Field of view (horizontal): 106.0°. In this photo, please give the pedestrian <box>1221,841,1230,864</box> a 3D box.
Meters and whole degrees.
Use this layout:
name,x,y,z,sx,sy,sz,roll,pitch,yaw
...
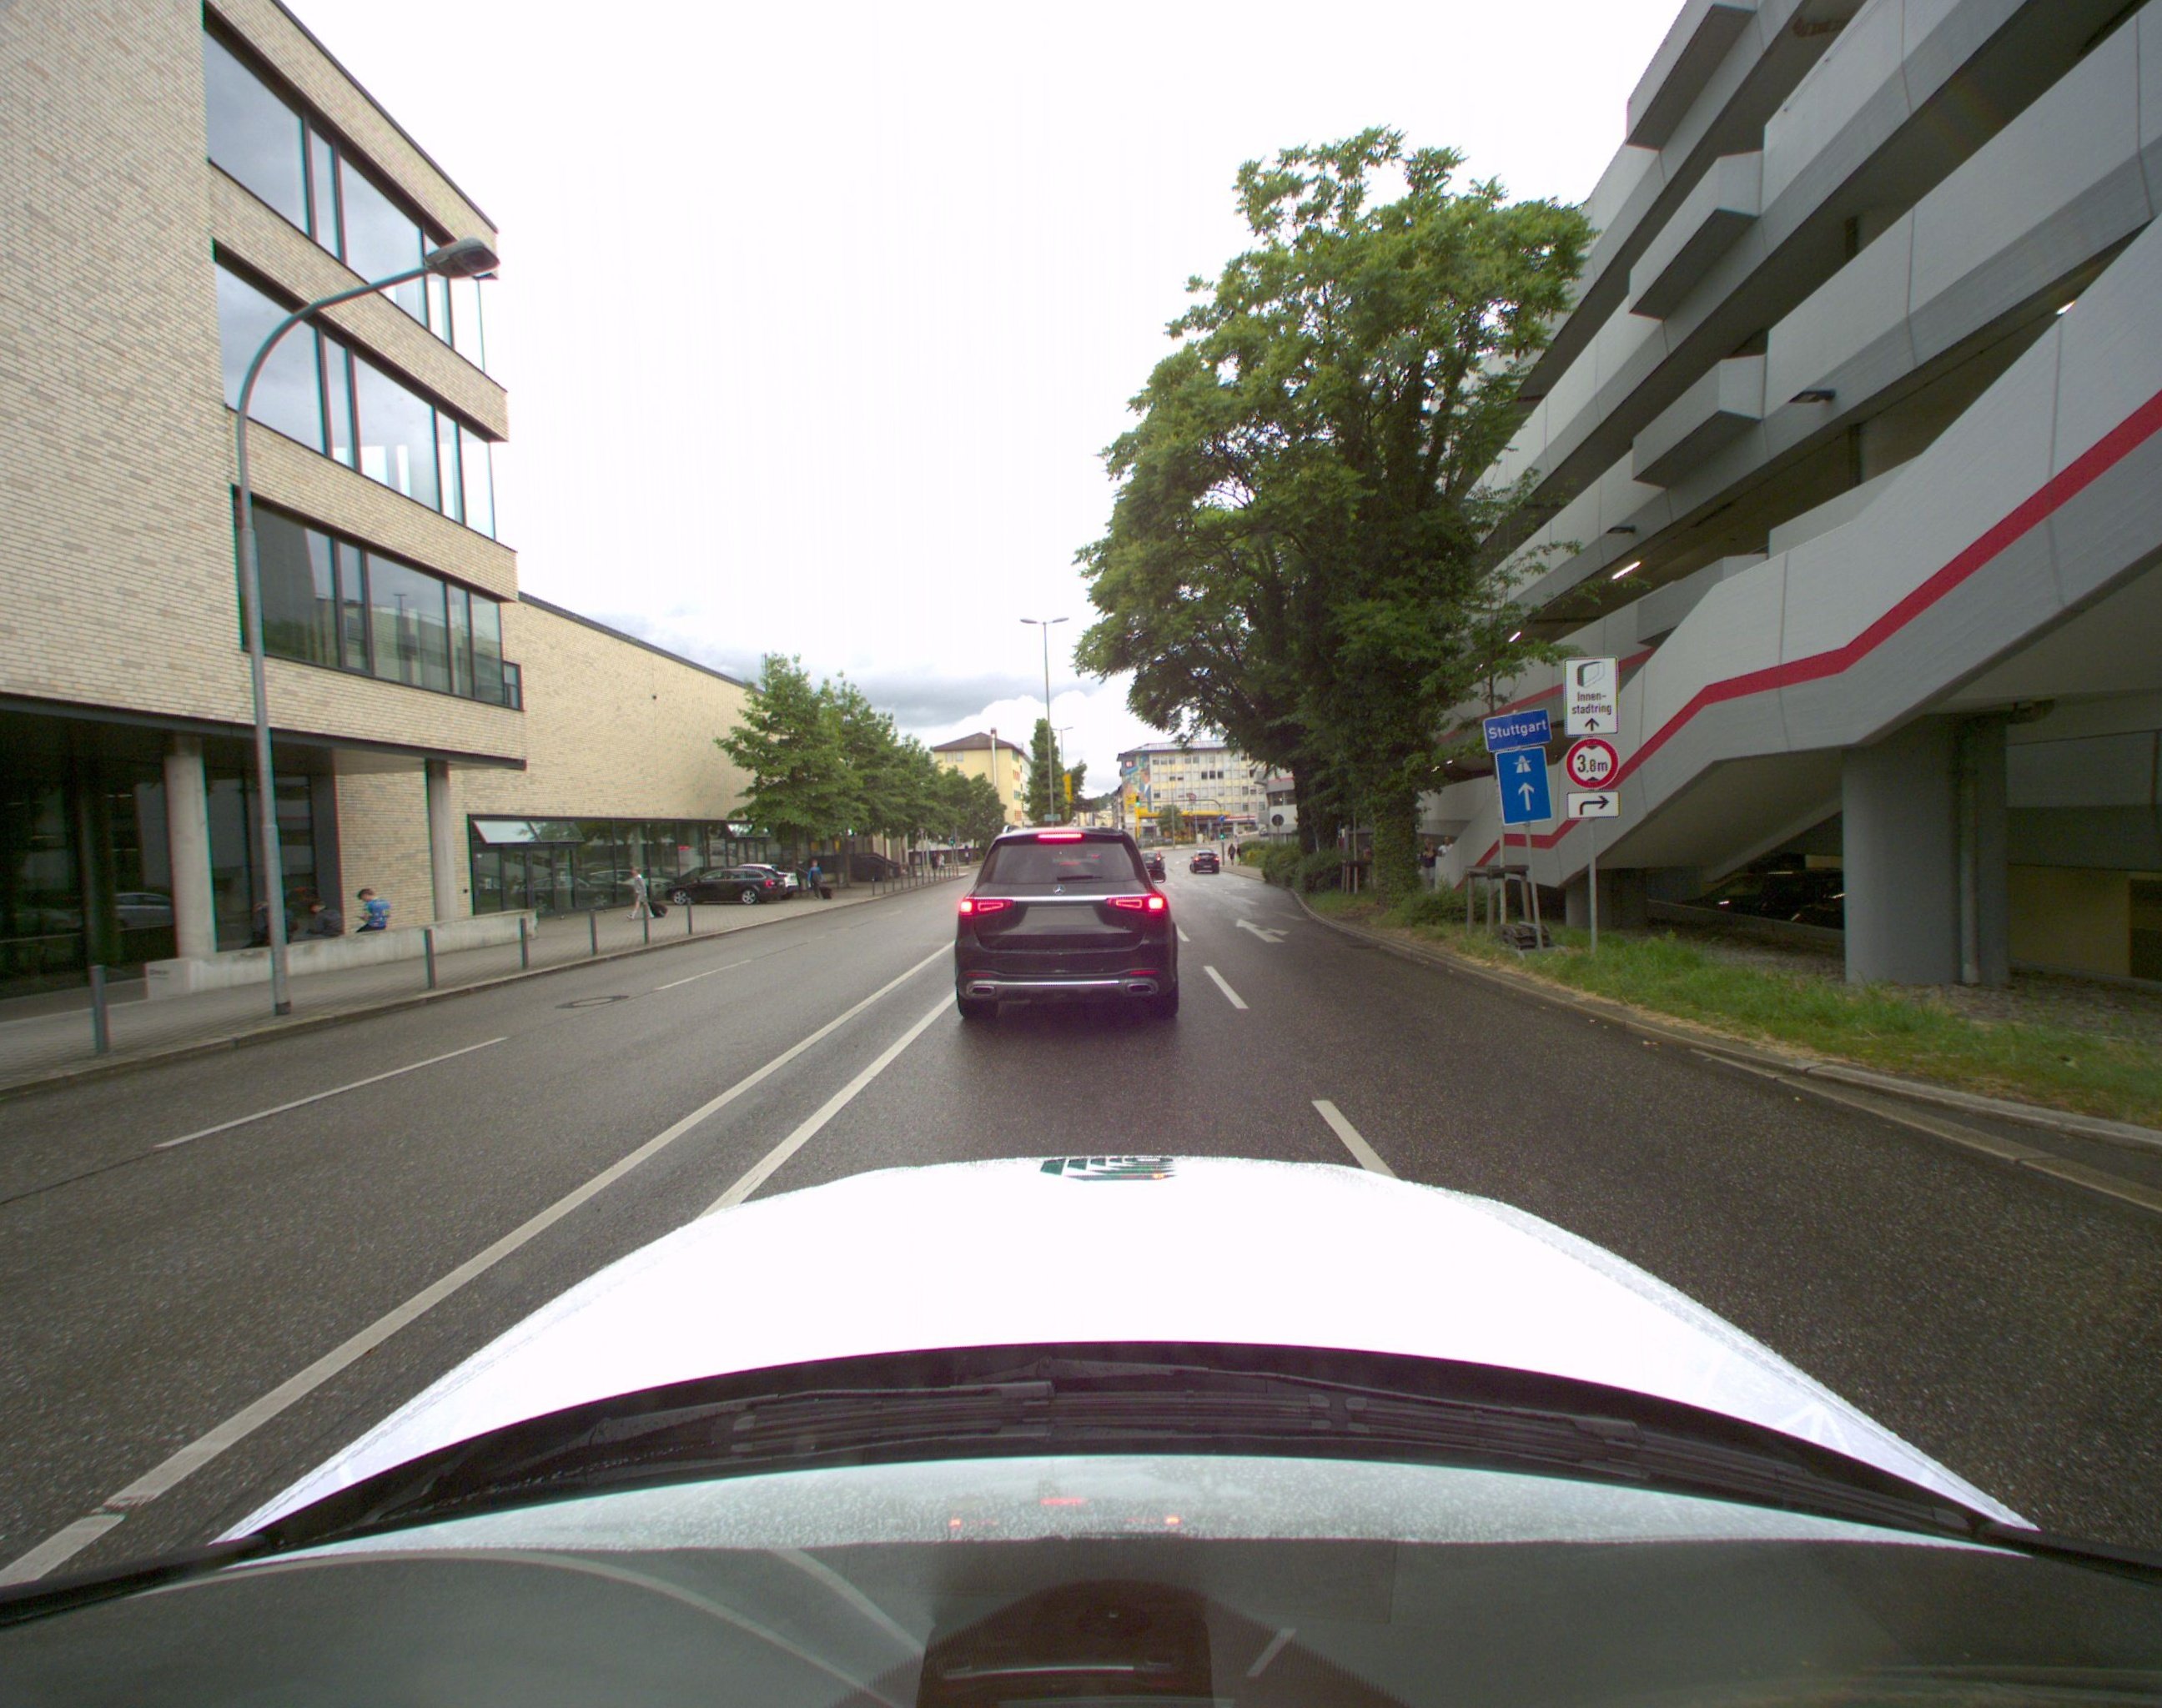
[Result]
name,x,y,z,sx,sy,sz,roll,pitch,yaw
pedestrian,11.943,-0.138,67.291,0.617,1.935,0.611,0,-1,5

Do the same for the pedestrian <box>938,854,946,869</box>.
name,x,y,z,sx,sy,sz,roll,pitch,yaw
pedestrian,-13.792,0.719,80.835,0.709,1.462,0.598,0,-1,0

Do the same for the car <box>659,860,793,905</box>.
name,x,y,z,sx,sy,sz,roll,pitch,yaw
car,-14.104,1.111,32.593,4.461,1.587,1.997,-1,0,-5

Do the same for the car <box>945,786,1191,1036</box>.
name,x,y,z,sx,sy,sz,roll,pitch,yaw
car,-0.084,0.476,8.603,1.987,2.014,4.000,0,-1,0

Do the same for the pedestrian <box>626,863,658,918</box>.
name,x,y,z,sx,sy,sz,roll,pitch,yaw
pedestrian,-13.615,1.134,25.257,0.673,1.697,0.479,0,-2,1

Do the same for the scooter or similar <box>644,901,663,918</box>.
name,x,y,z,sx,sy,sz,roll,pitch,yaw
scooter or similar,-13.547,1.756,25.798,0.279,0.501,0.616,0,-1,0

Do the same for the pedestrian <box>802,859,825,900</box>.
name,x,y,z,sx,sy,sz,roll,pitch,yaw
pedestrian,-11.490,1.081,34.998,0.686,1.725,0.754,0,1,0

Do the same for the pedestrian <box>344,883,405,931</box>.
name,x,y,z,sx,sy,sz,roll,pitch,yaw
pedestrian,-13.472,1.005,15.543,0.680,0.886,0.523,0,-1,-5

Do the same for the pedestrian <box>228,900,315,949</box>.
name,x,y,z,sx,sy,sz,roll,pitch,yaw
pedestrian,-13.494,1.183,13.602,0.595,0.786,0.760,0,-7,1

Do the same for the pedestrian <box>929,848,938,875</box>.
name,x,y,z,sx,sy,sz,roll,pitch,yaw
pedestrian,-11.116,0.539,61.391,0.586,2.014,0.749,0,-1,0

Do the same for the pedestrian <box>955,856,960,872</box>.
name,x,y,z,sx,sy,sz,roll,pitch,yaw
pedestrian,-12.647,0.990,83.469,0.398,1.644,0.567,0,-1,2

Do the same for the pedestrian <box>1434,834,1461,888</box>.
name,x,y,z,sx,sy,sz,roll,pitch,yaw
pedestrian,10.477,0.201,23.292,0.579,1.501,0.505,0,-1,7

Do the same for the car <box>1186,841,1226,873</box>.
name,x,y,z,sx,sy,sz,roll,pitch,yaw
car,8.325,0.156,54.508,1.987,2.013,3.999,-1,0,0

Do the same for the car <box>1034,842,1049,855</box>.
name,x,y,z,sx,sy,sz,roll,pitch,yaw
car,-5.786,-0.799,120.582,1.987,1.875,5.141,0,-1,0

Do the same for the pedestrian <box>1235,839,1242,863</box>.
name,x,y,z,sx,sy,sz,roll,pitch,yaw
pedestrian,12.613,-0.235,65.261,0.518,1.911,0.556,0,-1,1

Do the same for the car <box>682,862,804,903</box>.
name,x,y,z,sx,sy,sz,roll,pitch,yaw
car,-14.594,1.220,35.360,4.407,1.574,1.998,-1,1,-4

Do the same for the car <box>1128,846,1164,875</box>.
name,x,y,z,sx,sy,sz,roll,pitch,yaw
car,4.624,0.442,58.682,1.990,2.014,3.993,0,-1,-4

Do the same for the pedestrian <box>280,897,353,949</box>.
name,x,y,z,sx,sy,sz,roll,pitch,yaw
pedestrian,-13.528,1.210,14.430,0.584,0.845,0.727,-1,-1,1

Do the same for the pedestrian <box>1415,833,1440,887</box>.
name,x,y,z,sx,sy,sz,roll,pitch,yaw
pedestrian,9.900,0.164,23.282,0.548,1.532,0.489,0,-1,8
